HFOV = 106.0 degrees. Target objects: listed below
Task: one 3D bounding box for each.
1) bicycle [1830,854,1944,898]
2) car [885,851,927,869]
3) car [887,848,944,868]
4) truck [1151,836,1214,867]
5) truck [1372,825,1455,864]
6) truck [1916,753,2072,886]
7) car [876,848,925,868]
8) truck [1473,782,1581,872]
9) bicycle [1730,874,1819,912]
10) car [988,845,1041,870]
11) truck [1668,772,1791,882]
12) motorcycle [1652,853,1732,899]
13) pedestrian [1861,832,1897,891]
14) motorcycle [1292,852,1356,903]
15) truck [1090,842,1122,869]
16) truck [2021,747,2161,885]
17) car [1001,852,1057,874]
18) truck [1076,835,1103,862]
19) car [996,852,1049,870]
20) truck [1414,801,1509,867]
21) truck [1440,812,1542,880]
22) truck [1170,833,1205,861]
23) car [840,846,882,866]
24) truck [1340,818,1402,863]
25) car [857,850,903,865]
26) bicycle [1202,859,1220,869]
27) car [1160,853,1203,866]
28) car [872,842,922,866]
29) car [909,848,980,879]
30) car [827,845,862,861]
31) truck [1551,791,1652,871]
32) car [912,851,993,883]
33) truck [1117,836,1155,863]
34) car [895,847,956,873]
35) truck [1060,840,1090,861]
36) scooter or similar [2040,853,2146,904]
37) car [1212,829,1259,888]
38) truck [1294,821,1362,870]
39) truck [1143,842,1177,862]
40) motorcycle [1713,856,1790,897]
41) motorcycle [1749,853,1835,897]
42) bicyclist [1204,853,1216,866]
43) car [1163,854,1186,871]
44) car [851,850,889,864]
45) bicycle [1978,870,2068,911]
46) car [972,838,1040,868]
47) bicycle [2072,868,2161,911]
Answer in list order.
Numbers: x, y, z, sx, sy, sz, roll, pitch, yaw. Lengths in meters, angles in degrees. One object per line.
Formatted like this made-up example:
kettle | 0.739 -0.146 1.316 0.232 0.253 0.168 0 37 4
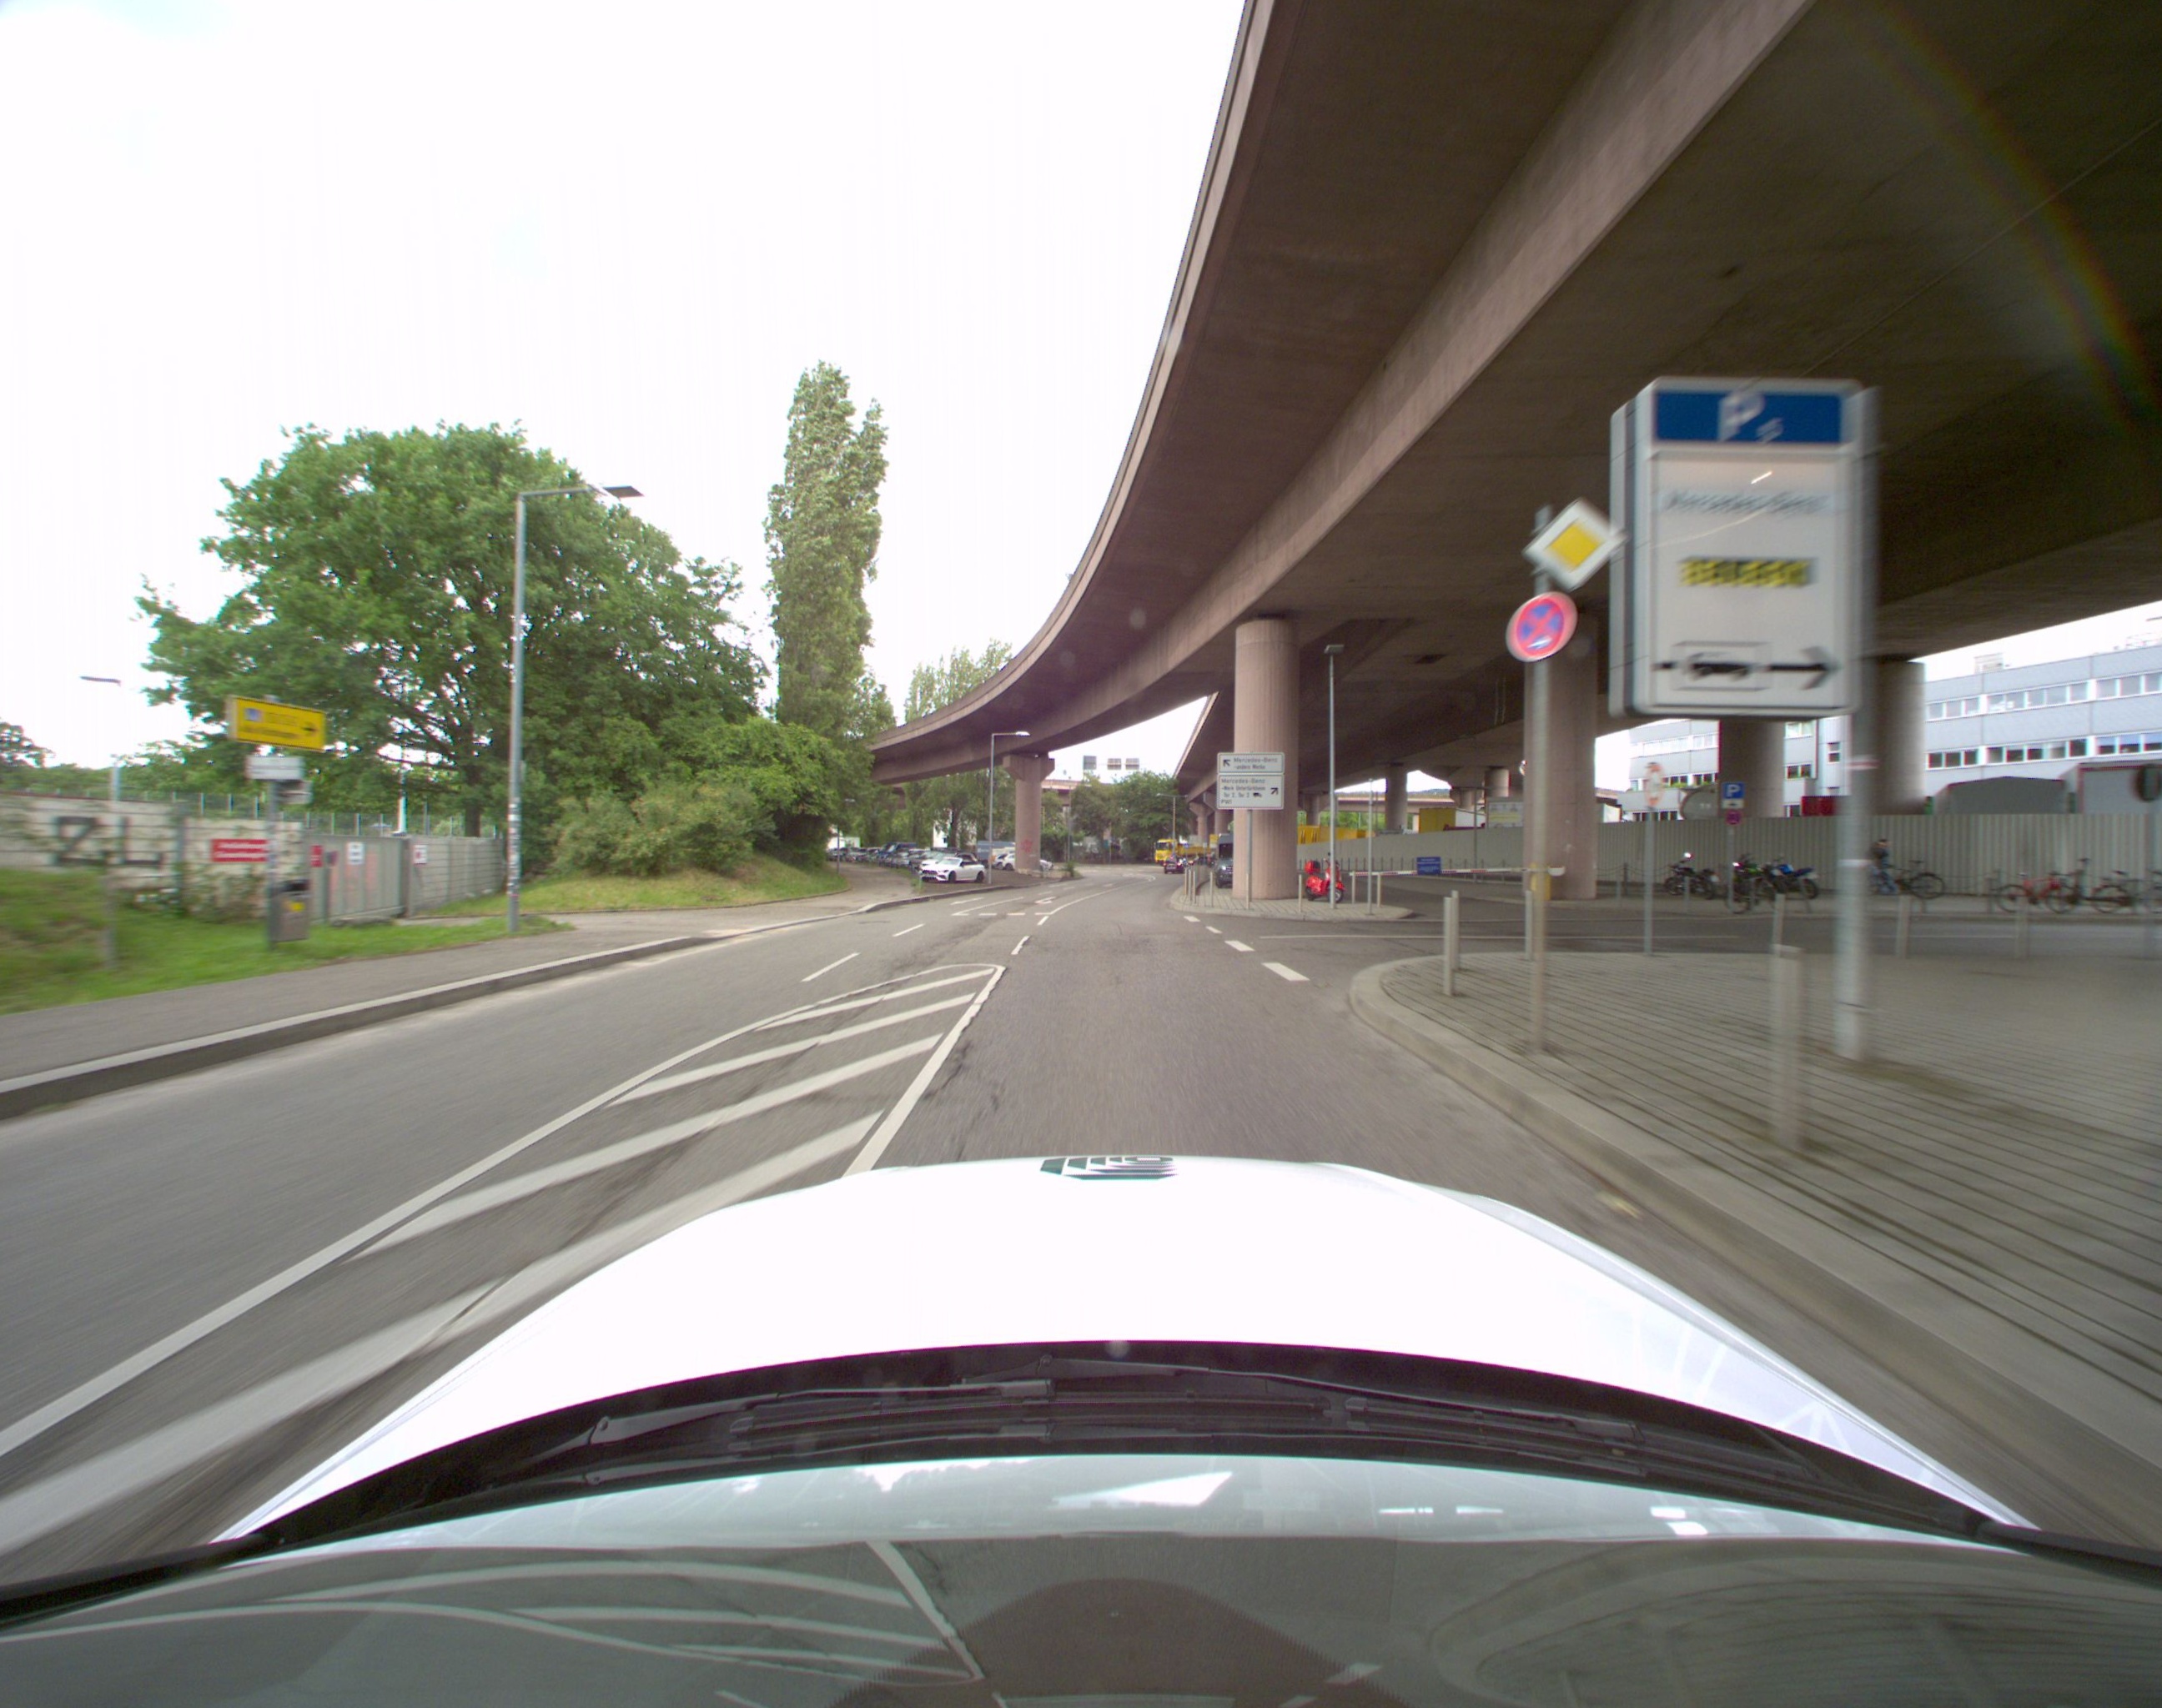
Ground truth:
bicycle | 23.508 0.630 23.828 2.301 1.105 0.624 3 5 43
car | -14.781 0.499 68.773 1.629 1.441 3.755 -1 0 22
car | -13.322 0.291 65.941 1.840 1.487 4.918 3 1 27
truck | 13.134 -0.389 104.930 8.282 3.480 2.905 -2 4 -36
truck | 28.606 -0.859 69.889 8.767 2.944 3.109 -2 -1 -43
truck | 32.942 -1.112 29.754 2.874 4.159 8.823 -2 -1 43
car | -15.969 0.361 72.071 1.877 1.675 4.180 -1 0 29
truck | 26.963 -1.510 48.948 3.108 4.924 9.783 -1 0 44
bicycle | 17.404 0.975 20.437 2.009 0.926 0.418 0 1 -6
car | -6.139 0.318 75.533 4.526 2.111 1.857 1 0 12
truck | 29.213 -1.081 36.422 10.357 4.303 2.976 -1 -1 -44
motorcycle | 18.409 0.618 24.611 0.778 1.235 2.542 -1 2 7
pedestrian | 24.799 0.237 25.317 0.638 1.826 0.507 0 0 8
motorcycle | 6.978 0.646 23.517 0.797 1.366 2.120 -1 0 -13
truck | 3.907 0.248 128.346 3.072 3.963 6.886 -3 0 -16
truck | 35.908 -1.217 28.505 2.874 4.237 8.823 -2 -1 43
car | -4.441 0.749 69.786 4.347 1.606 1.963 3 1 16
truck | 1.479 -1.031 148.290 3.205 4.779 8.016 -1 2 -12
car | -5.225 0.603 72.793 4.214 1.371 2.008 3 1 14
truck | 28.016 -1.408 59.667 3.108 4.443 9.783 -2 -1 44
truck | 27.486 -0.528 54.253 10.124 4.183 2.862 -1 -1 -44
truck | 17.353 -1.176 133.020 3.069 4.299 8.014 -1 2 -13
car | -24.309 0.237 90.171 1.823 1.800 4.329 -2 4 28
truck | 33.355 -1.452 93.427 8.767 4.903 3.109 0 0 -44
car | -20.916 0.351 84.895 1.975 1.435 4.674 -1 0 28
bicycle | 14.478 1.070 90.877 0.806 1.097 2.112 -1 0 -27
car | 12.252 0.633 99.228 4.951 1.502 2.151 -1 0 -34
car | -18.022 -0.048 80.005 2.098 2.254 5.046 -1 0 25
car | -8.126 0.607 48.961 1.976 1.582 4.425 4 0 25
car | -27.638 -0.084 95.118 1.639 1.712 4.103 3 -1 22
truck | 29.893 -1.207 46.482 2.779 4.158 9.988 -1 0 45
car | -7.052 0.763 45.199 1.976 1.480 4.854 4 -1 24
truck | 8.236 -0.815 123.657 3.073 3.867 8.002 -1 2 -17
car | -10.522 0.398 55.501 1.839 1.691 4.189 1 0 27
truck | -1.156 -0.680 144.730 3.065 3.618 7.866 -1 2 -19
scooter or similar | 26.791 0.624 21.597 0.547 1.218 1.659 -4 5 -44
car | 7.412 0.211 39.575 1.982 2.613 6.089 -1 0 8
truck | 26.331 -0.857 86.604 8.767 4.917 3.109 0 0 -44
truck | 11.985 -0.375 124.758 2.922 2.898 6.521 -1 2 -17
motorcycle | 20.277 0.646 24.694 0.540 1.105 2.333 0 2 4
motorcycle | 21.379 0.612 24.555 0.569 1.105 2.331 0 4 2
bicyclist | 14.441 0.648 90.935 0.800 1.405 1.057 -1 0 -27
car | 9.447 0.857 82.641 1.985 1.679 4.564 1 0 3
car | -22.752 0.300 87.977 1.771 1.474 3.911 -1 0 27
bicycle | 23.762 0.912 20.544 1.723 0.982 0.437 0 1 1
car | -7.170 -0.103 78.548 6.149 2.725 2.370 1 0 3
bicycle | 25.978 0.877 20.197 2.044 1.023 0.397 0 1 9
